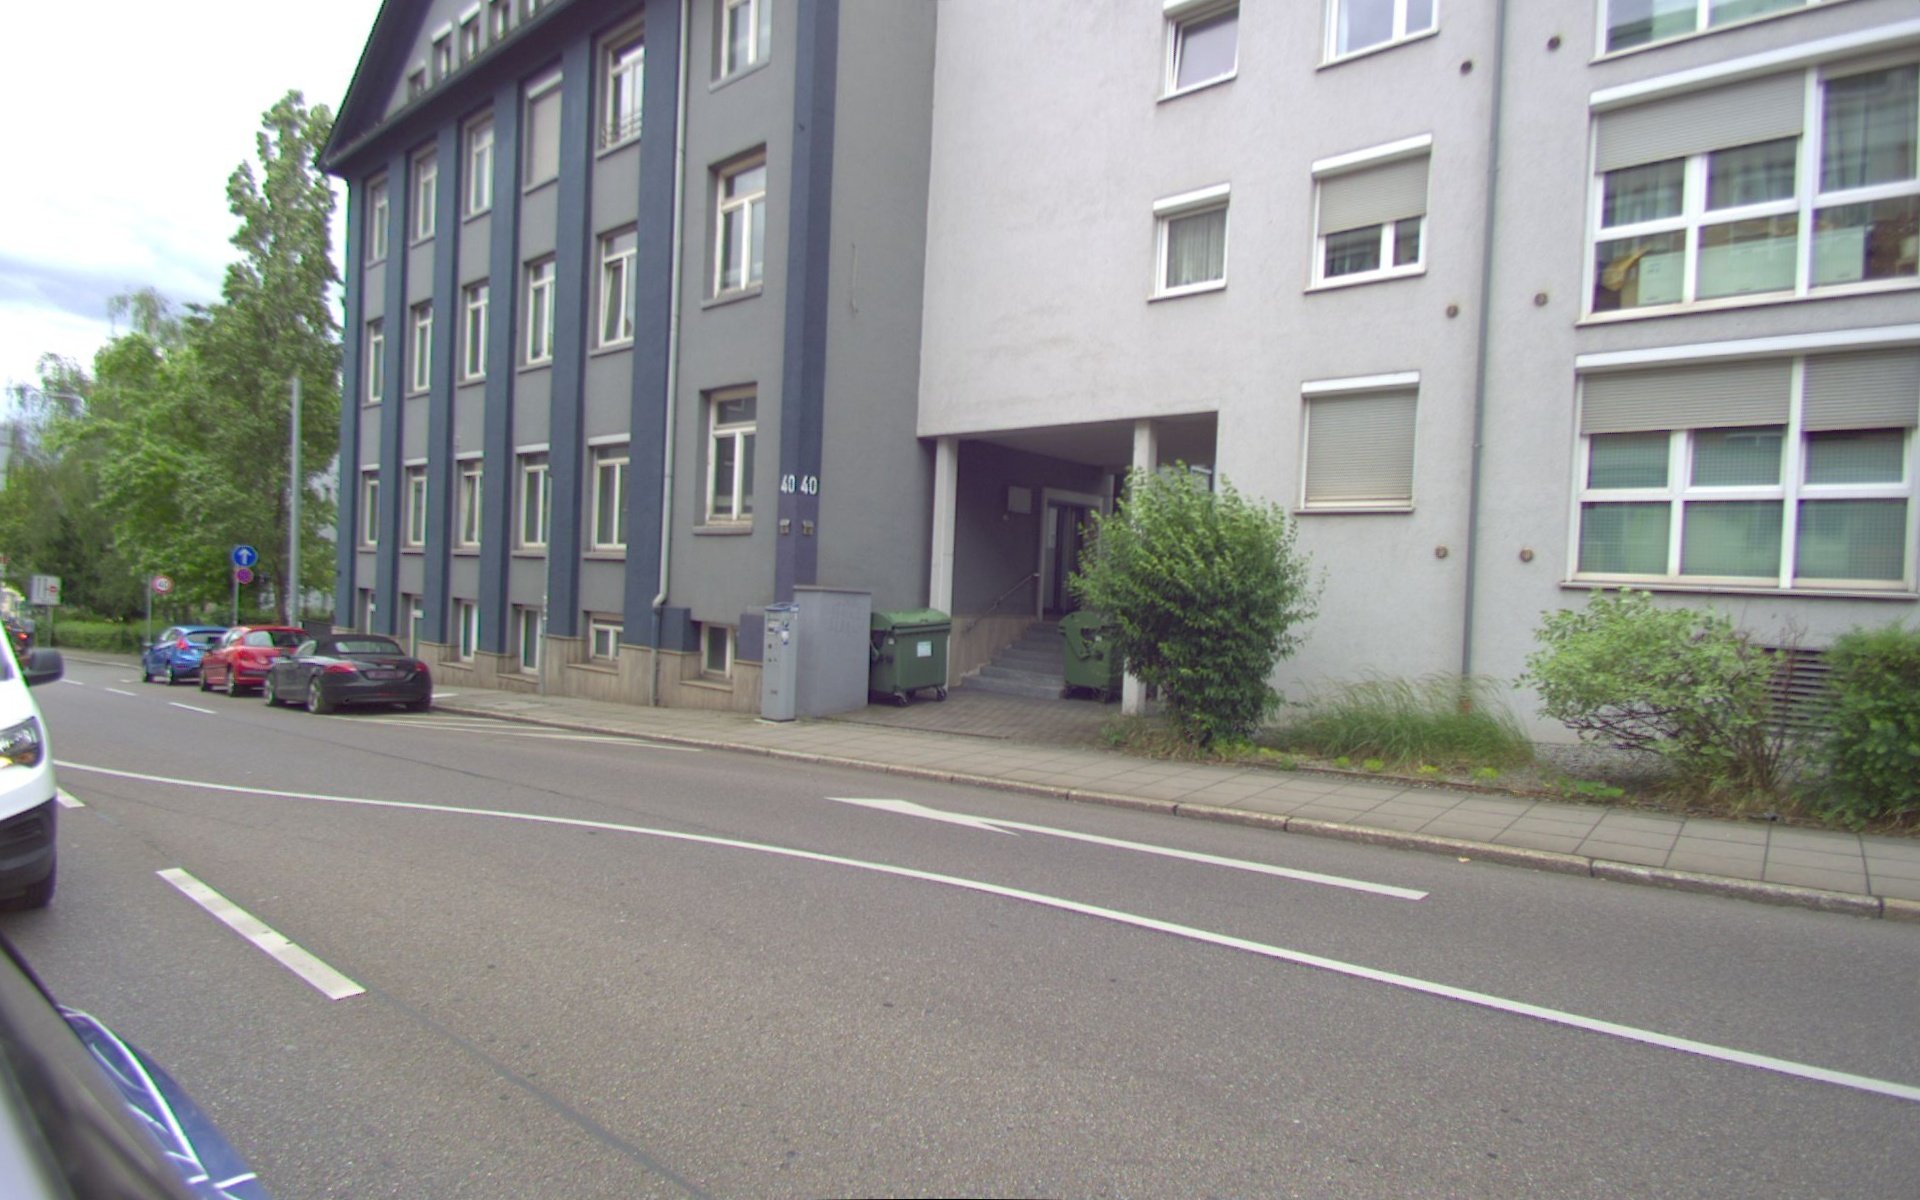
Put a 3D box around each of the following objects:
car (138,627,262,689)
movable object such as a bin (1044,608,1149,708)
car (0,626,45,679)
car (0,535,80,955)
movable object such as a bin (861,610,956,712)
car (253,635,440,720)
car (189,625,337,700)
[{"bbox_3d":[-19.337,1.429,25.710,3.724,1.465,1.702,-1,-3,40],"label":"car"},{"bbox_3d":[2.243,0.918,16.634,1.190,1.489,1.132,5,2,41],"label":"movable object such as a bin"},{"bbox_3d":[-27.759,1.460,28.949,4.668,1.429,1.766,-1,-4,41],"label":"car"},{"bbox_3d":[-6.447,0.679,5.551,4.937,1.821,1.816,-1,0,42],"label":"car"},{"bbox_3d":[-0.793,0.911,15.695,0.784,1.467,1.251,0,1,44],"label":"movable object such as a bin"},{"bbox_3d":[-11.039,1.327,18.100,4.040,1.337,1.701,-1,-4,42],"label":"car"},{"bbox_3d":[-15.290,1.328,22.135,3.868,1.485,1.795,-2,-4,43],"label":"car"}]
